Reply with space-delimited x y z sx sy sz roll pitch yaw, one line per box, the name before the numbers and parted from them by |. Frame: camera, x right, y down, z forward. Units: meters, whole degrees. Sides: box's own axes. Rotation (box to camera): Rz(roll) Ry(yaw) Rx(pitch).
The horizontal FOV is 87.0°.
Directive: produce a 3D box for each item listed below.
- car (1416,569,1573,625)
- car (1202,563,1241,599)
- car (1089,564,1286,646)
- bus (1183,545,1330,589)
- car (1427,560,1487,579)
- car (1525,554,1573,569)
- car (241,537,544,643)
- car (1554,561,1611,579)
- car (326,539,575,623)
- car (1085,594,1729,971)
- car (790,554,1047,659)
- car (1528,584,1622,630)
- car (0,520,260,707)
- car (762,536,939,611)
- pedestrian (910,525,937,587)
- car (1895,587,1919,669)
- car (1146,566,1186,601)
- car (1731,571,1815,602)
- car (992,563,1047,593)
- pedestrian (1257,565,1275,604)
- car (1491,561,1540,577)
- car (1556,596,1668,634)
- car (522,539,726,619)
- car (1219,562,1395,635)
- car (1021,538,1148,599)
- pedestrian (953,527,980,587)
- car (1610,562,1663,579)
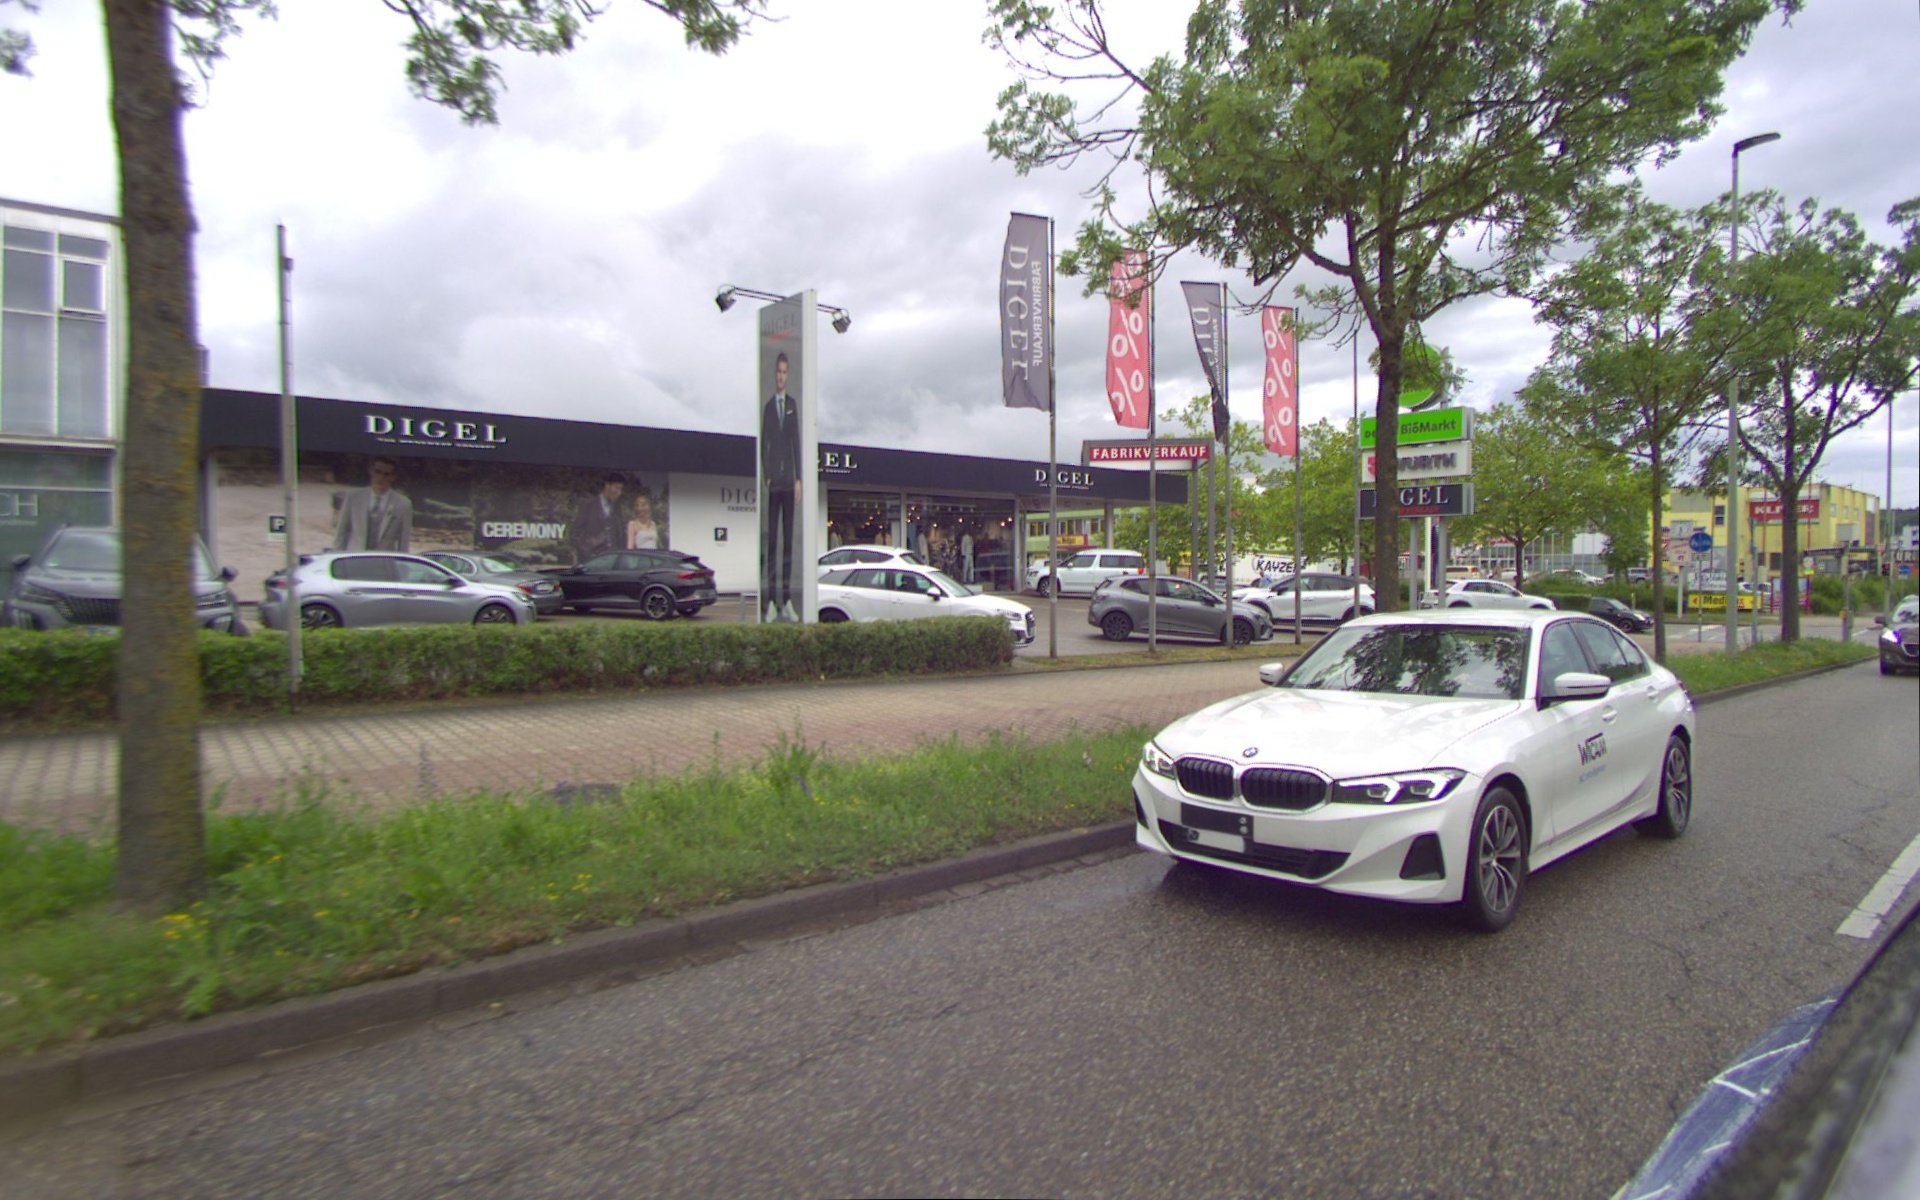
car | 18.031 -0.125 34.308 4.238 1.598 1.742 3 3 5
car | 13.171 -1.000 50.927 1.775 1.528 4.099 4 5 15
car | 4.835 0.071 22.047 3.951 1.454 1.741 3 3 8
bus | 27.800 -2.989 94.028 17.020 3.557 4.102 0 2 -39
car | 50.268 -3.127 102.503 1.998 1.820 5.092 0 2 -39
car | 65.541 -4.268 112.688 1.791 1.601 4.221 0 2 -39
car | -9.149 -0.157 16.475 4.048 1.463 1.766 1 3 -39
car | 55.663 -2.713 90.542 1.768 1.529 3.997 0 2 -39
car | -10.515 -0.451 21.011 4.424 1.412 1.797 3 4 9
car | 2.927 0.712 6.080 4.462 1.459 1.807 0 0 -41
car | -0.688 0.048 17.730 4.122 1.490 1.783 4 3 15
car | 23.425 0.250 38.684 1.716 1.599 3.863 2 0 10
car | -8.679 -0.010 10.635 1.829 1.490 4.180 0 4 -40
car | -2.964 -0.773 27.551 4.430 1.701 1.794 4 4 13
pedestrian | -1.216 -1.439 33.461 0.646 2.039 0.612 0 -1 -39
car | 20.678 0.554 20.762 4.145 1.601 1.797 0 -1 -42
car | 10.919 -0.897 53.590 1.775 1.528 4.099 4 5 15
car | 50.424 -0.855 62.856 3.981 1.834 1.743 3 2 39
car | 4.204 -1.587 72.587 1.766 2.025 4.000 0 3 -36
pedestrian | 13.406 -0.687 44.390 0.556 1.702 0.473 1 0 -27
car | 59.895 -3.335 109.210 1.791 1.601 4.221 0 2 -39
car | 29.379 0.623 45.693 1.716 1.529 3.989 -4 3 -44
car | -7.513 -0.507 22.789 3.975 1.495 1.798 3 4 8
car | 9.072 -0.095 26.766 4.114 1.598 1.738 4 3 12
car | 4.151 -1.074 33.937 4.045 1.766 1.798 3 4 7
pedestrian | 0.226 -1.456 34.666 0.646 2.039 0.612 0 -1 -39
car | 65.849 -2.853 98.538 1.768 1.529 3.997 0 2 -39
